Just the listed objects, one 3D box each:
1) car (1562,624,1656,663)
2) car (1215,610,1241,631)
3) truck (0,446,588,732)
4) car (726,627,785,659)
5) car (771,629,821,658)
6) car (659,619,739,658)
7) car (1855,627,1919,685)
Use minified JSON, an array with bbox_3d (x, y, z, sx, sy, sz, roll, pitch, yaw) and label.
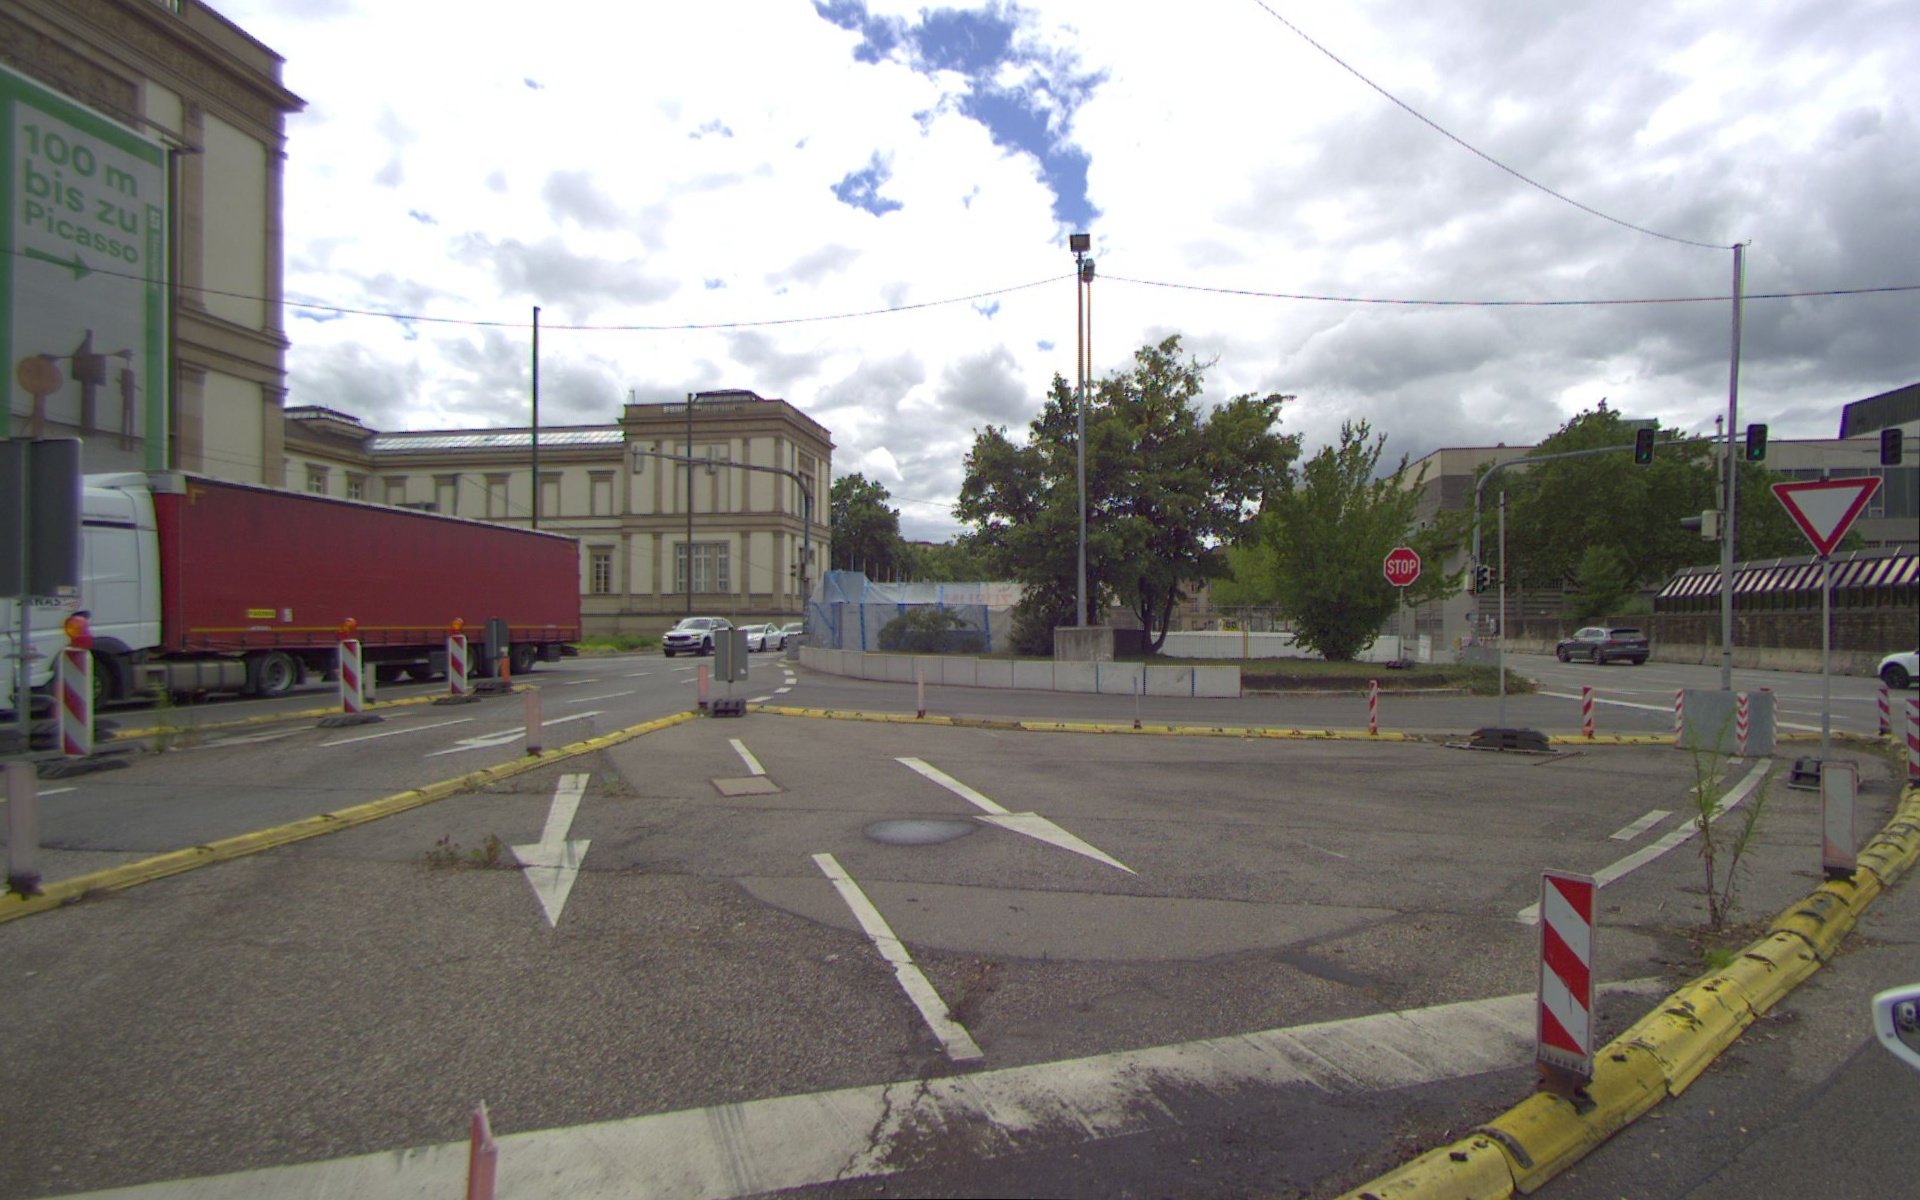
[{"bbox_3d":[29.444,1.951,45.735,1.792,1.588,4.482,-1,0,7],"label":"car"},{"bbox_3d":[31.105,2.414,116.855,2.538,2.405,5.530,-1,-2,11],"label":"car"},{"bbox_3d":[-14.093,0.019,22.865,2.867,4.137,16.625,-1,-1,8],"label":"truck"},{"bbox_3d":[-9.963,2.073,49.267,1.559,1.445,3.645,1,-1,11],"label":"car"},{"bbox_3d":[-9.219,2.432,56.751,1.579,1.498,3.645,1,-1,11],"label":"car"},{"bbox_3d":[-11.074,1.629,42.949,1.681,1.557,4.143,1,-1,11],"label":"car"},{"bbox_3d":[27.945,1.563,28.061,1.723,1.588,4.329,-2,-2,-5],"label":"car"}]
